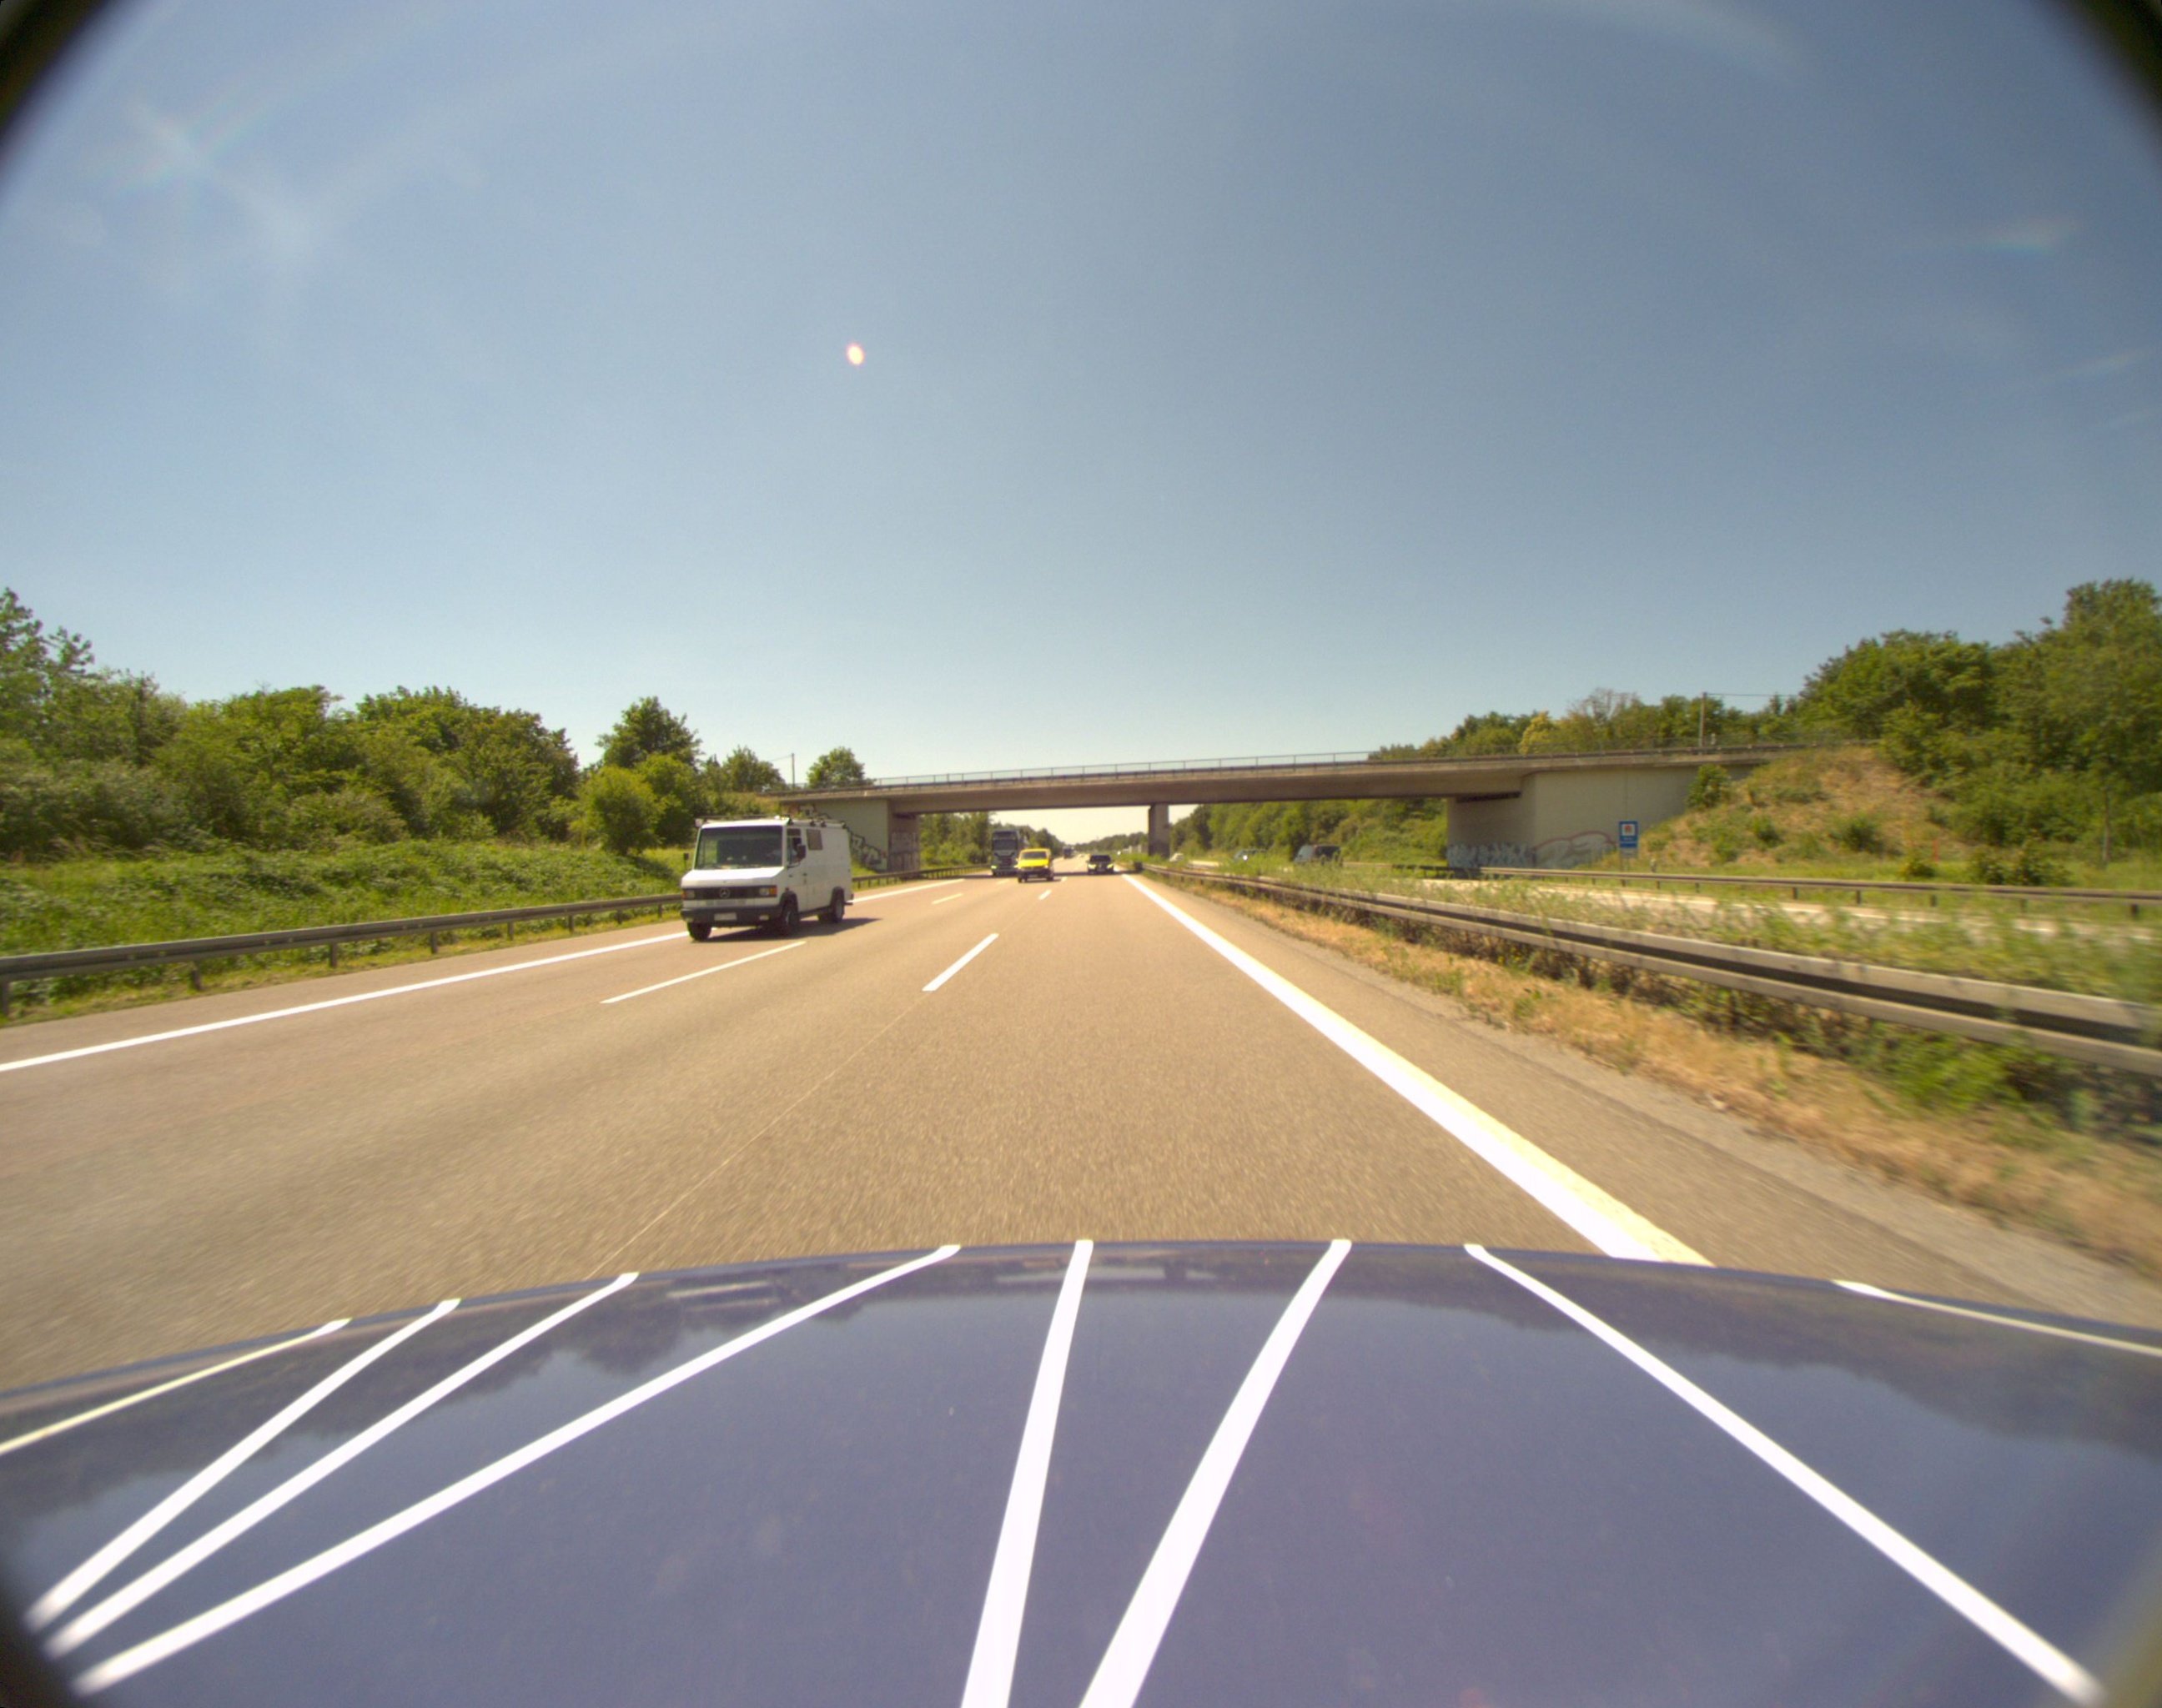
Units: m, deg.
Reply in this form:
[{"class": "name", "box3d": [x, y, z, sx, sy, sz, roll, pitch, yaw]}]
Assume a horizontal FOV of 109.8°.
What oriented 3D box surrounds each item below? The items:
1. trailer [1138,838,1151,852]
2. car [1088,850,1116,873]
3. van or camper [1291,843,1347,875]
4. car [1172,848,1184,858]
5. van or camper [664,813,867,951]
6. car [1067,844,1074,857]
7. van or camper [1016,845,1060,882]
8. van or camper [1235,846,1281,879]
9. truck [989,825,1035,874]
[{"class": "trailer", "box3d": [21.038, -2.942, 251.210, 3.152, 4.224, 14.478, -3, 1, 2]}, {"class": "car", "box3d": [1.425, 0.516, 53.526, 1.894, 1.541, 4.038, 0, 1, 0]}, {"class": "van or camper", "box3d": [14.282, 0.263, 45.856, 1.998, 1.859, 4.455, 0, 1, 0]}, {"class": "car", "box3d": [14.997, -0.132, 117.257, 1.518, 1.379, 3.167, -3, 1, 2]}, {"class": "van or camper", "box3d": [-7.261, 0.537, 18.532, 2.119, 2.687, 6.366, -2, 1, 1]}, {"class": "car", "box3d": [-3.349, -1.175, 244.450, 2.298, 3.886, 9.267, 0, 1, 0]}, {"class": "van or camper", "box3d": [-2.519, 0.494, 45.679, 2.063, 1.992, 5.884, -2, 1, 2]}, {"class": "van or camper", "box3d": [10.349, 0.449, 44.672, 1.715, 1.759, 3.999, -3, 1, 0]}, {"class": "truck", "box3d": [-6.297, -0.460, 71.352, 2.805, 4.022, 13.353, -3, 1, 1]}]
